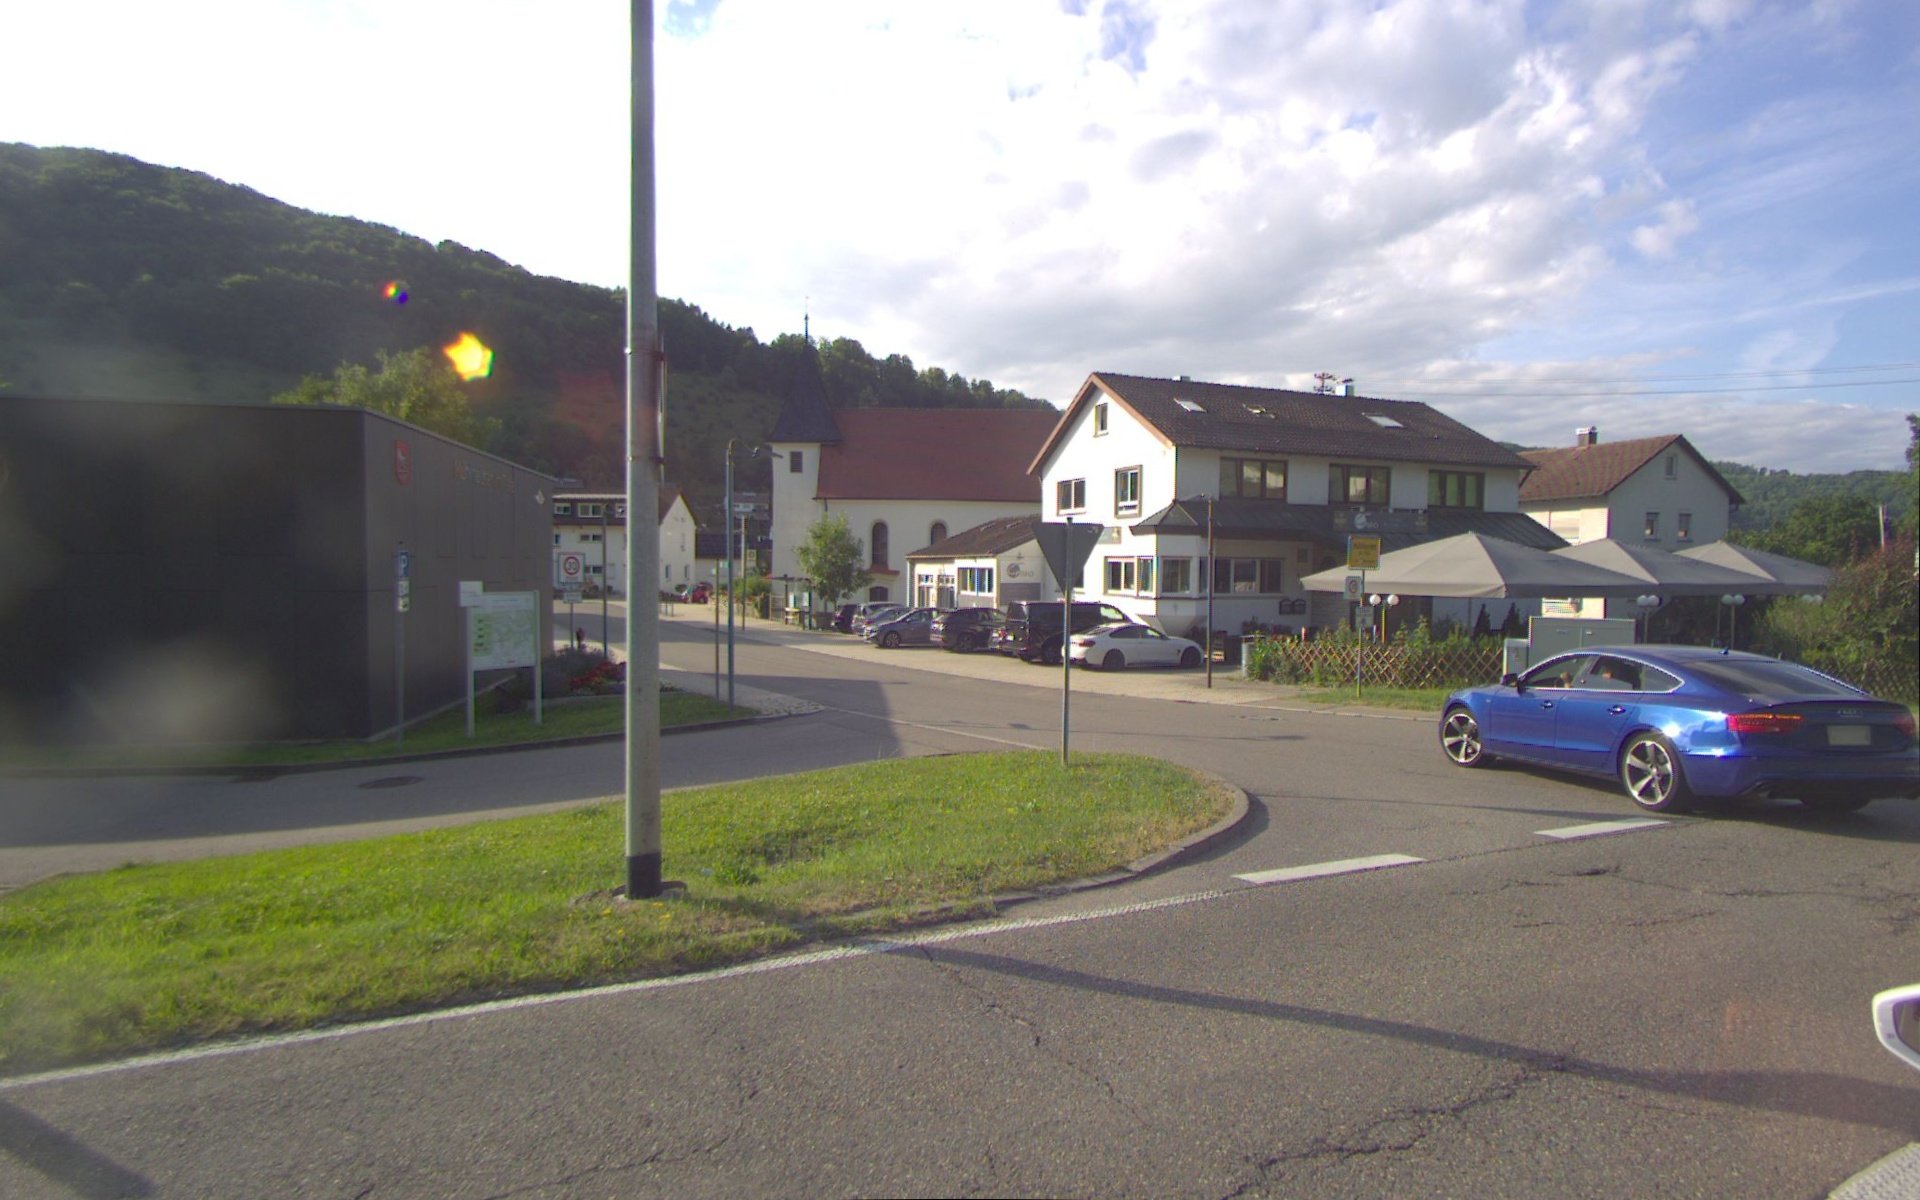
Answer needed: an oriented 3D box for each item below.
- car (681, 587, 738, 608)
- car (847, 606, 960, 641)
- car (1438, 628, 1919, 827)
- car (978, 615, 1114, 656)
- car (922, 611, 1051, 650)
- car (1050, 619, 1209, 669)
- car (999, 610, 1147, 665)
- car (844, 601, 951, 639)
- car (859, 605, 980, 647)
[{"bbox_3d":[-19.798,-0.188,79.362,3.953,1.528,1.984,1,0,-30],"label":"car"},{"bbox_3d":[-2.450,1.045,43.741,4.514,1.431,1.988,1,-1,-25],"label":"car"},{"bbox_3d":[6.530,1.011,9.551,1.800,1.428,4.225,1,-1,-3],"label":"car"},{"bbox_3d":[3.105,1.268,36.313,4.514,1.408,1.988,1,-1,-25],"label":"car"},{"bbox_3d":[1.001,1.168,38.295,4.514,1.431,1.988,1,-1,-25],"label":"car"},{"bbox_3d":[5.226,1.335,30.890,4.514,1.408,1.988,1,-1,-25],"label":"car"},{"bbox_3d":[3.731,1.214,33.136,4.514,1.707,1.988,1,-1,-25],"label":"car"},{"bbox_3d":[-2.894,0.932,46.360,4.514,1.665,1.988,1,-1,-25],"label":"car"},{"bbox_3d":[-1.632,1.048,40.543,4.514,1.618,1.988,1,-1,-25],"label":"car"}]
